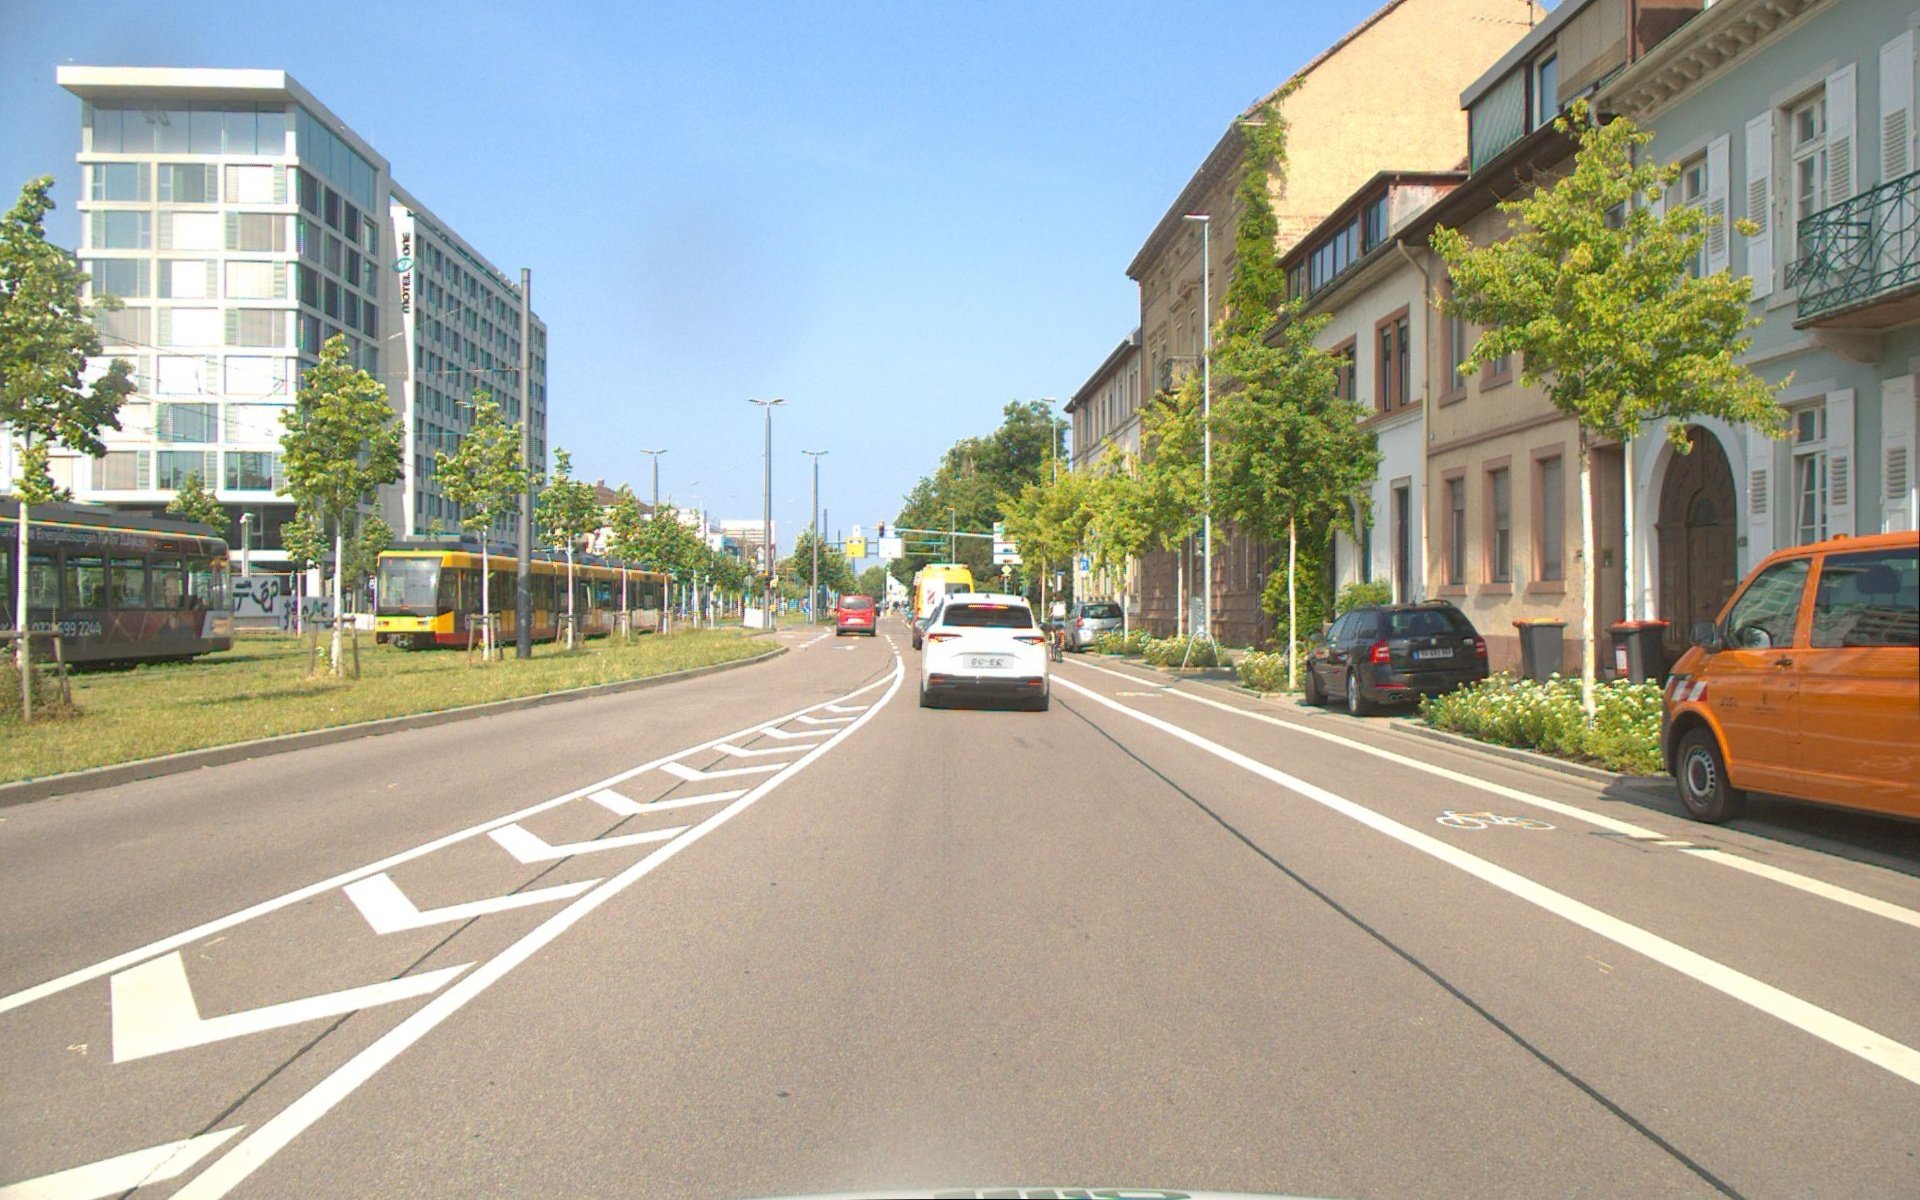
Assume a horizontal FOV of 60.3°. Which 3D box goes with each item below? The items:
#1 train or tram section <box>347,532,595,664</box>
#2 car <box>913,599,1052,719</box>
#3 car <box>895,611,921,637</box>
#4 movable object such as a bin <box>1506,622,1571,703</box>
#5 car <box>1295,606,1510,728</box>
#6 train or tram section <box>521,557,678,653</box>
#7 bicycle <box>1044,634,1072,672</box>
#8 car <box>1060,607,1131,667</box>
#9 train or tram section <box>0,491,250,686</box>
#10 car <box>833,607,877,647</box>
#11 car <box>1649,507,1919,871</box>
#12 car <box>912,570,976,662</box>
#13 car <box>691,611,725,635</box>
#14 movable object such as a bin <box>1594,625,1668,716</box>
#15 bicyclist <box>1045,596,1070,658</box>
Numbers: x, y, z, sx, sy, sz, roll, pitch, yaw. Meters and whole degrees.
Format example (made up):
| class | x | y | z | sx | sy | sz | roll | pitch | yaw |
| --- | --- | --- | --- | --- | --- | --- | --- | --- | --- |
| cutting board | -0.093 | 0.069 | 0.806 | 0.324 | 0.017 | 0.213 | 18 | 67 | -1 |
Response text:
| class | x | y | z | sx | sy | sz | roll | pitch | yaw |
| --- | --- | --- | --- | --- | --- | --- | --- | --- | --- |
| train or tram section | -16.201 | 0.081 | 57.071 | 2.846 | 3.740 | 18.136 | 2 | -1 | 1 |
| car | 0.241 | 0.807 | 24.126 | 1.832 | 1.602 | 3.998 | 0 | 0 | -2 |
| car | -3.822 | 1.743 | 121.437 | 1.891 | 1.853 | 3.999 | 0 | 0 | -1 |
| movable object such as a bin | 9.069 | 0.972 | 25.956 | 0.725 | 1.221 | 0.773 | 1 | 0 | -3 |
| car | 6.060 | 0.880 | 23.143 | 1.640 | 1.509 | 4.309 | -1 | -1 | -3 |
| train or tram section | -15.968 | 0.341 | 75.270 | 2.846 | 3.772 | 18.289 | 2 | -1 | 1 |
| bicycle | 2.575 | 1.399 | 43.626 | 0.642 | 0.955 | 1.517 | 0 | 0 | 0 |
| car | 4.314 | 1.154 | 53.211 | 1.776 | 1.844 | 3.833 | 1 | 0 | -3 |
| train or tram section | -19.217 | -0.198 | 34.875 | 2.823 | 3.599 | 13.605 | 0 | 0 | -1 |
| car | -4.940 | 1.257 | 78.408 | 1.891 | 1.853 | 3.999 | 0 | 0 | -1 |
| car | 6.367 | 0.500 | 10.369 | 2.022 | 2.049 | 4.585 | 0 | 0 | -3 |
| car | -0.582 | 0.455 | 54.790 | 1.979 | 2.844 | 5.399 | 0 | 1 | -2 |
| car | -17.964 | 1.612 | 118.079 | 1.779 | 1.650 | 4.000 | 0 | 0 | 0 |
| movable object such as a bin | 9.297 | 0.968 | 22.934 | 0.666 | 1.221 | 0.781 | 1 | 0 | -3 |
| bicyclist | 2.574 | 0.714 | 43.706 | 0.626 | 1.605 | 0.771 | 0 | -1 | 0 |
